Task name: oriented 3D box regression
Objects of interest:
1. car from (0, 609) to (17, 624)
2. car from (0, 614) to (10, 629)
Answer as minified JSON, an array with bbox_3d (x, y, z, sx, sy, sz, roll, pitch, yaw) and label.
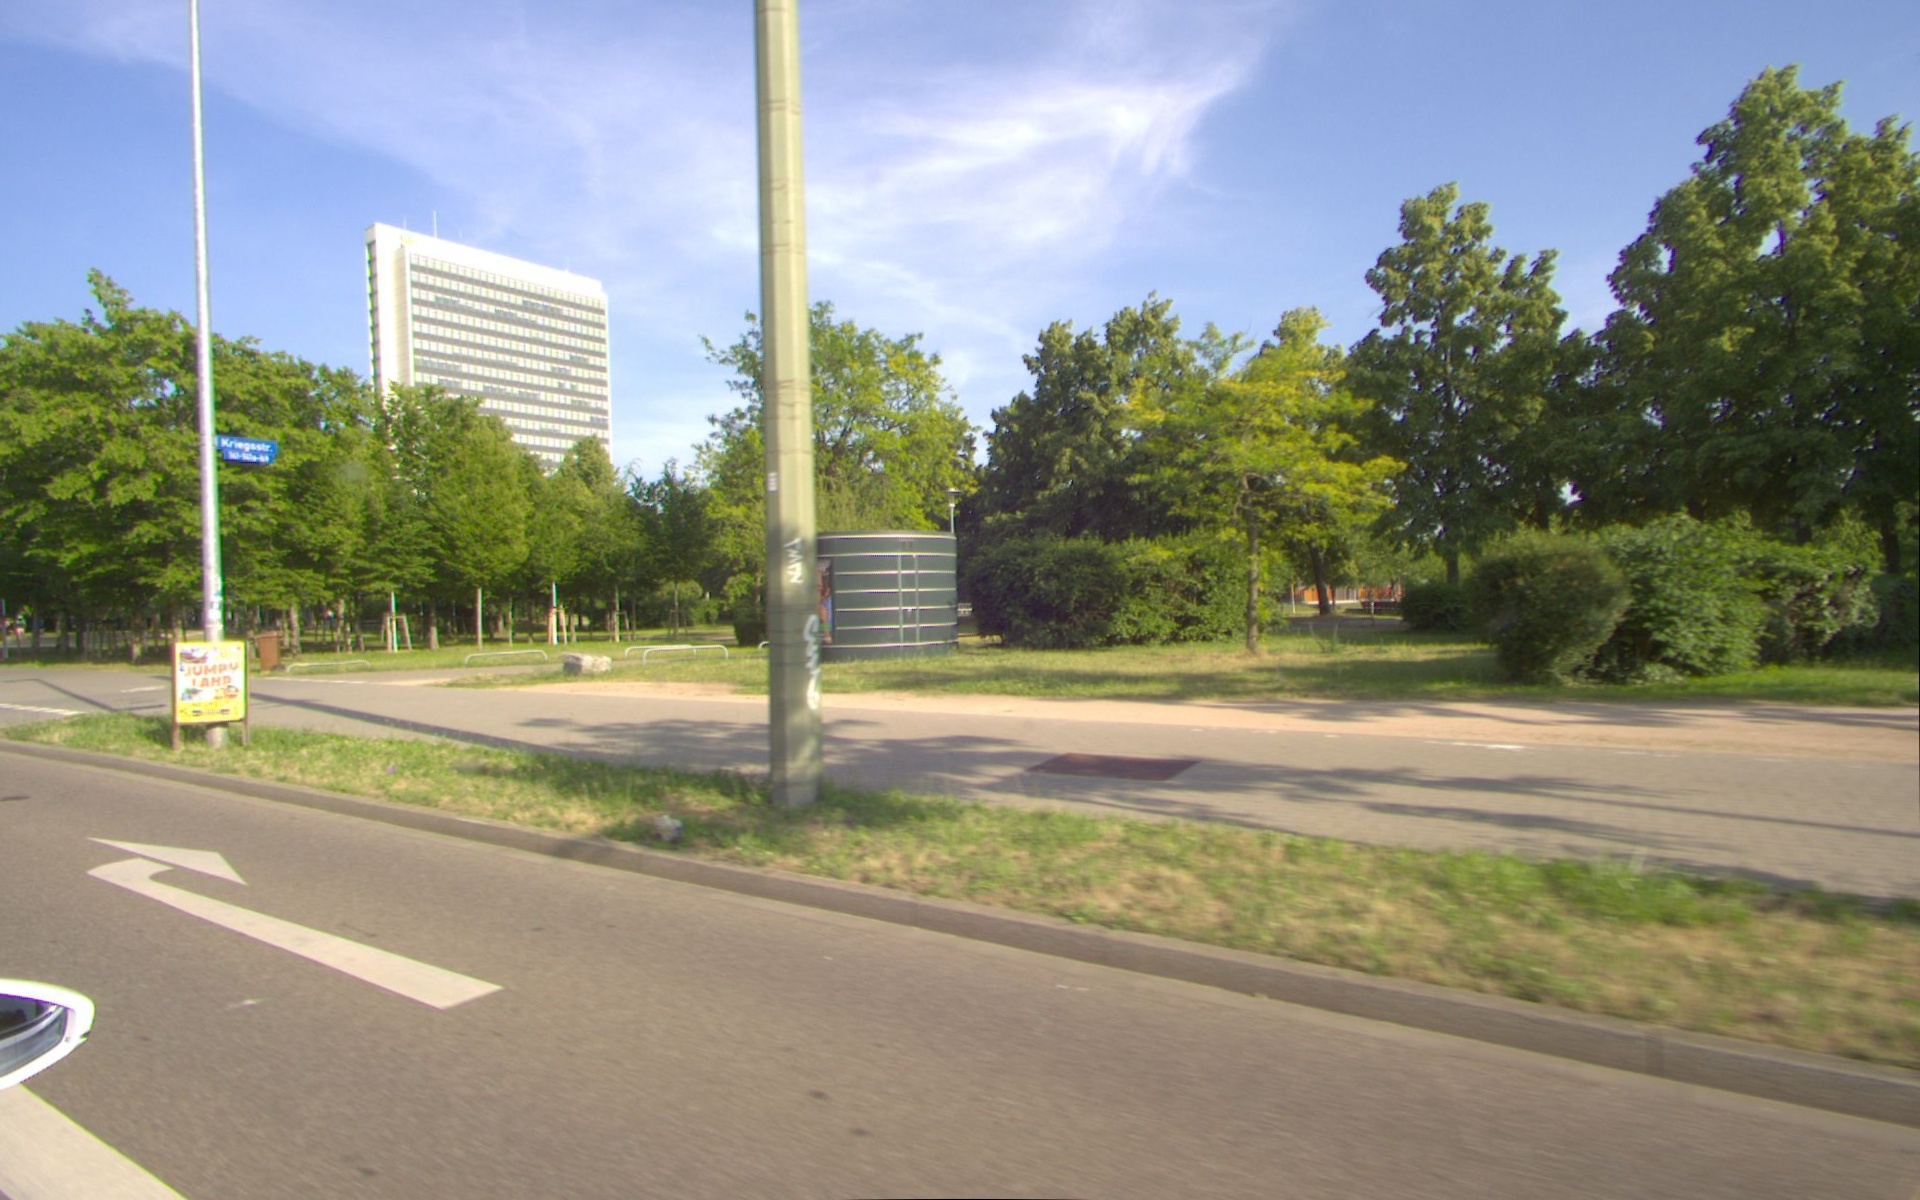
[{"bbox_3d":[-114.069,1.977,118.226,3.959,1.673,1.981,-2,1,-44],"label":"car"},{"bbox_3d":[-110.559,2.500,113.371,1.961,1.673,3.998,-1,0,6],"label":"car"}]
